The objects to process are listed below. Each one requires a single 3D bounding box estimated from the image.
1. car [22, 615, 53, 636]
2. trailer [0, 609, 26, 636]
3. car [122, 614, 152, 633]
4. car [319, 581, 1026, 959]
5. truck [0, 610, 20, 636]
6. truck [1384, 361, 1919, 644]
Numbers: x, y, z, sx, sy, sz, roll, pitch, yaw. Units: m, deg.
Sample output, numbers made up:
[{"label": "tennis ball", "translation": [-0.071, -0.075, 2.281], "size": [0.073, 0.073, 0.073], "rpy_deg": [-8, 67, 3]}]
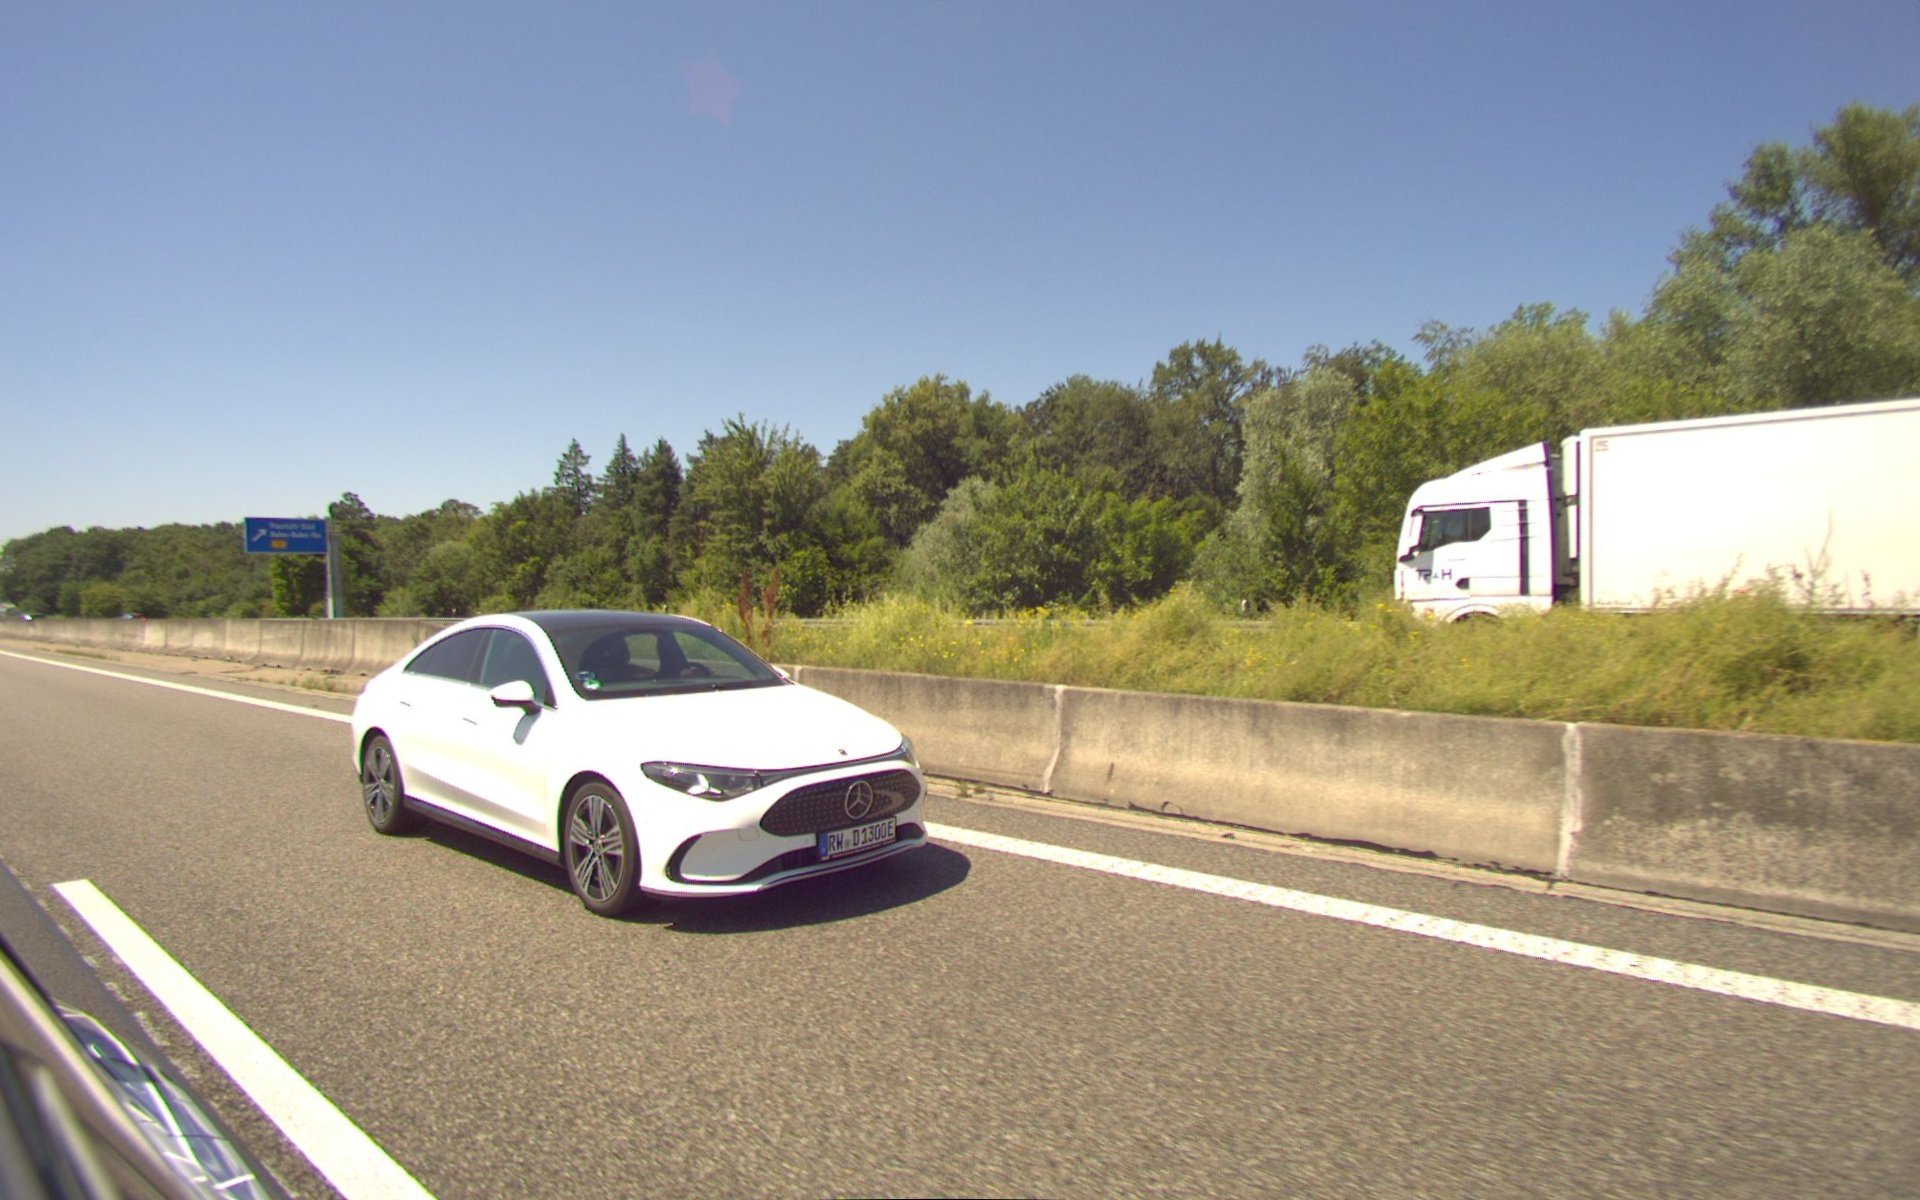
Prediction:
[{"label": "car", "translation": [-100.807, 2.786, 110.564], "size": [3.998, 2.028, 1.973], "rpy_deg": [-1, 3, 41]}, {"label": "trailer", "translation": [-154.813, 3.721, 164.529], "size": [10.423, 4.077, 2.780], "rpy_deg": [-1, 3, 40]}, {"label": "car", "translation": [-91.016, 2.583, 111.860], "size": [4.428, 2.029, 1.972], "rpy_deg": [-1, 0, 43]}, {"label": "car", "translation": [-2.148, 0.721, 6.271], "size": [5.106, 1.459, 1.748], "rpy_deg": [-2, -1, 42]}, {"label": "truck", "translation": [-157.685, 3.760, 166.834], "size": [7.725, 4.077, 2.779], "rpy_deg": [-1, 3, 41]}, {"label": "truck", "translation": [15.326, -1.346, 13.610], "size": [17.470, 3.763, 3.562], "rpy_deg": [-1, 0, 40]}]
